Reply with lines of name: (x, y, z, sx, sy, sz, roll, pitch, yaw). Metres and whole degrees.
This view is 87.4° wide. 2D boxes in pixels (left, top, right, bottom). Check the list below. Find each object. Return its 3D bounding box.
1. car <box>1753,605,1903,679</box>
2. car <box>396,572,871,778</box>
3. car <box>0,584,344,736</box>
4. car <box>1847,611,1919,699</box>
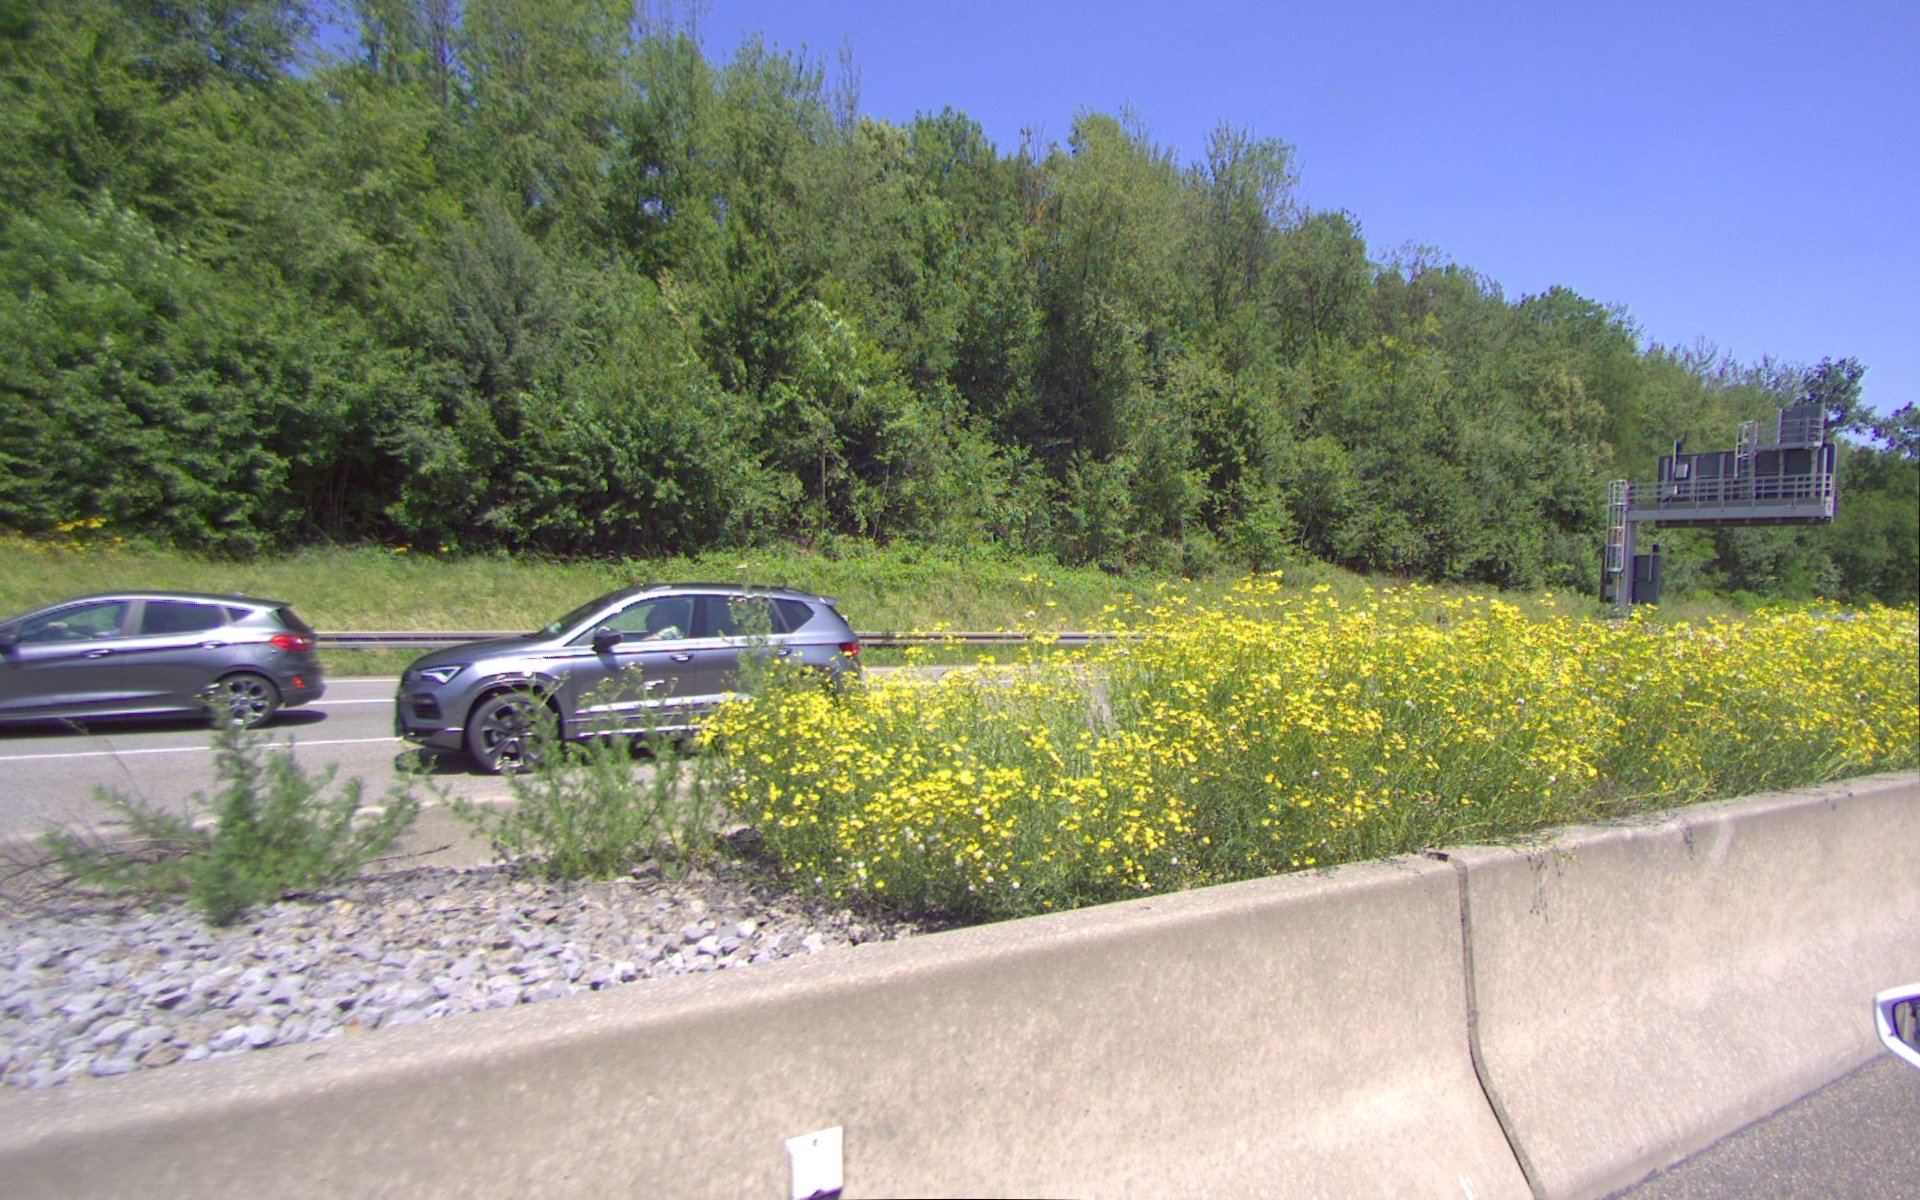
car: (22.279, 1.040, 25.743, 4.101, 1.757, 1.728, 1, 0, -31)
car: (-3.100, 0.606, 9.650, 4.017, 1.594, 1.984, 1, 0, -30)
car: (-9.067, 0.584, 10.906, 3.960, 1.463, 1.984, 1, 0, -30)
car: (18.344, 1.005, 18.615, 3.953, 1.518, 1.728, 1, 0, -31)
